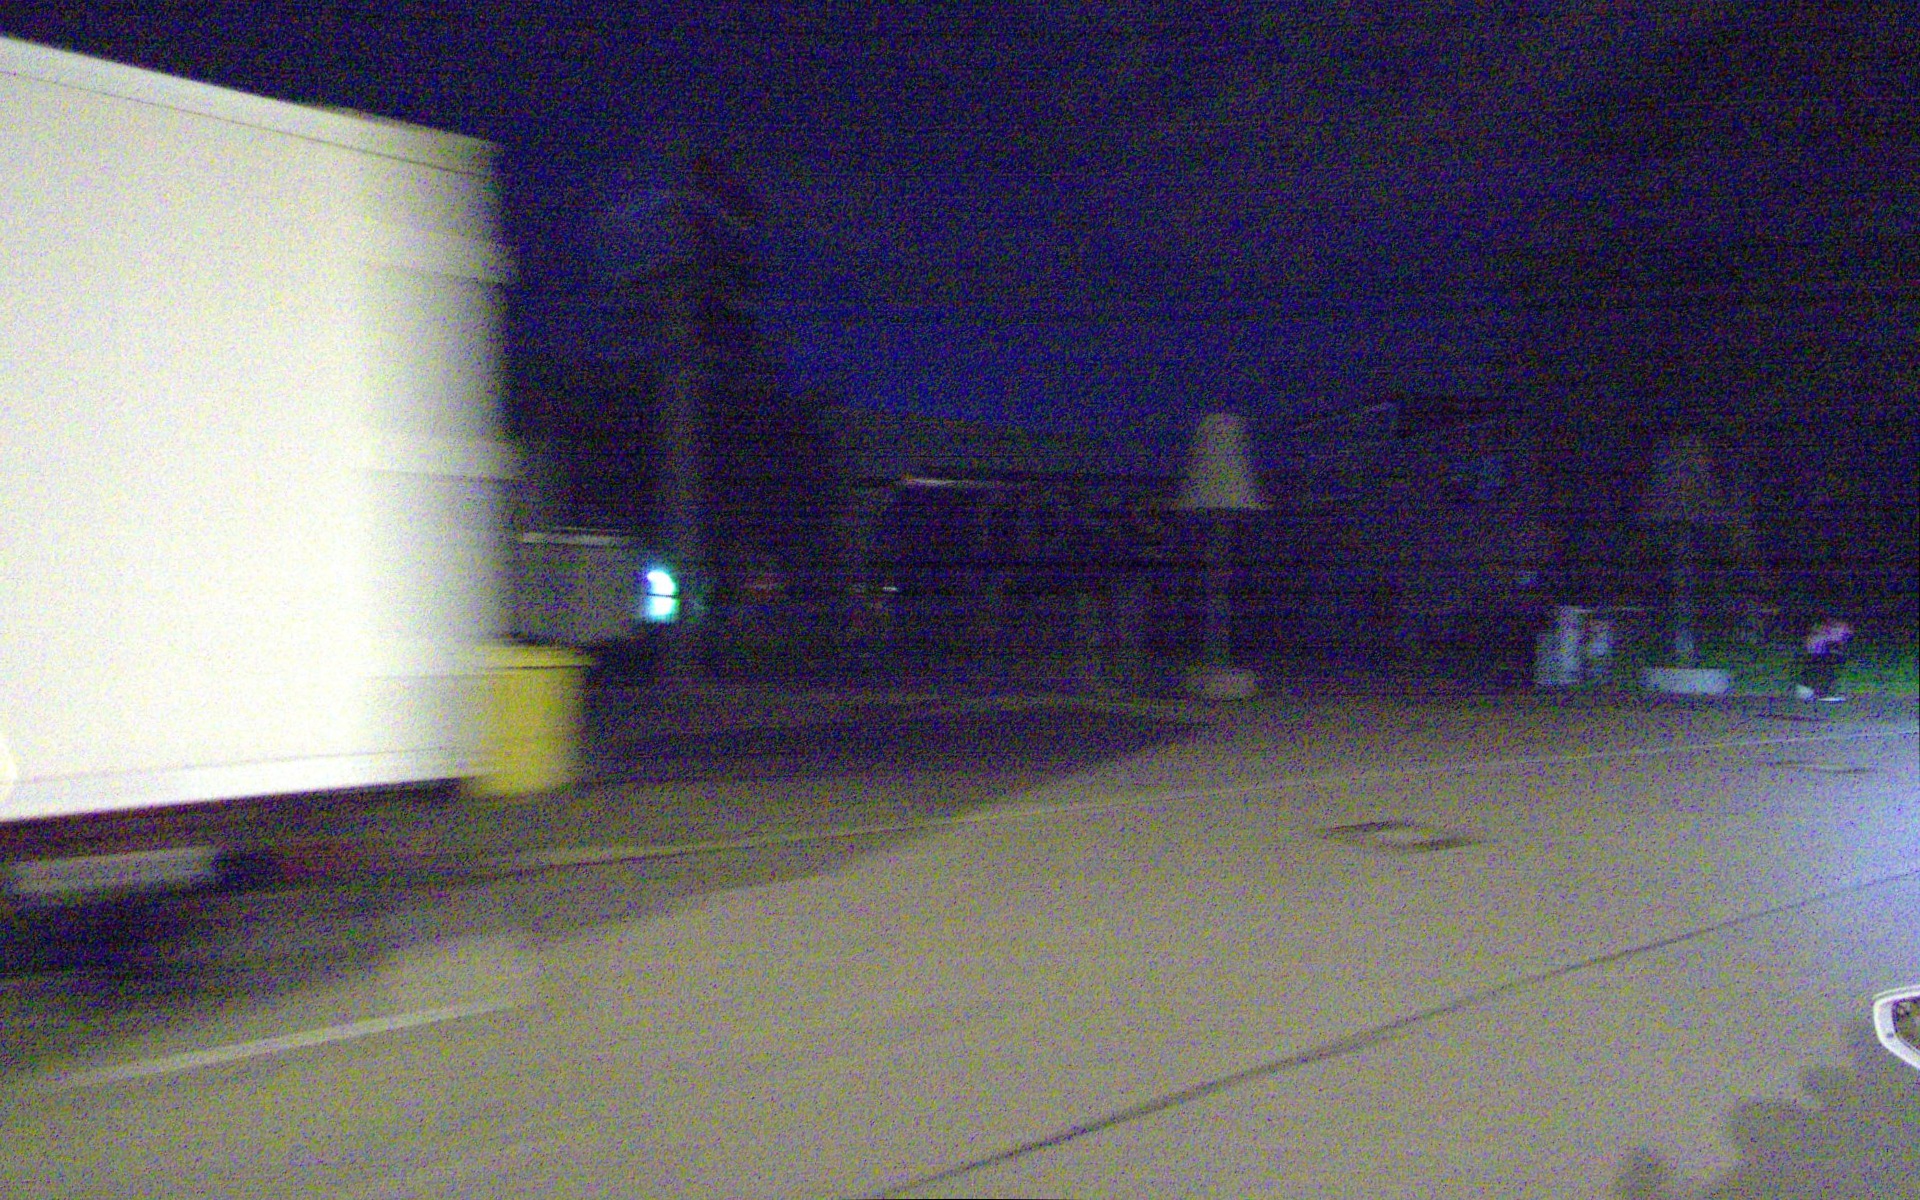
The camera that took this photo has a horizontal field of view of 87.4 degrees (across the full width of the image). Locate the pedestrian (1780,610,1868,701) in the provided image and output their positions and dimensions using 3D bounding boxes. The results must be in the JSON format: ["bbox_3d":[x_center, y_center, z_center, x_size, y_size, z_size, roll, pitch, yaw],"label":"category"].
[{"bbox_3d":[16.557,1.047,19.273,0.986,1.693,0.780,1,-1,5],"label":"pedestrian"}]

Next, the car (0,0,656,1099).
[{"bbox_3d":[-4.781,-0.308,2.738,7.159,3.286,2.366,2,0,-35],"label":"car"}]
